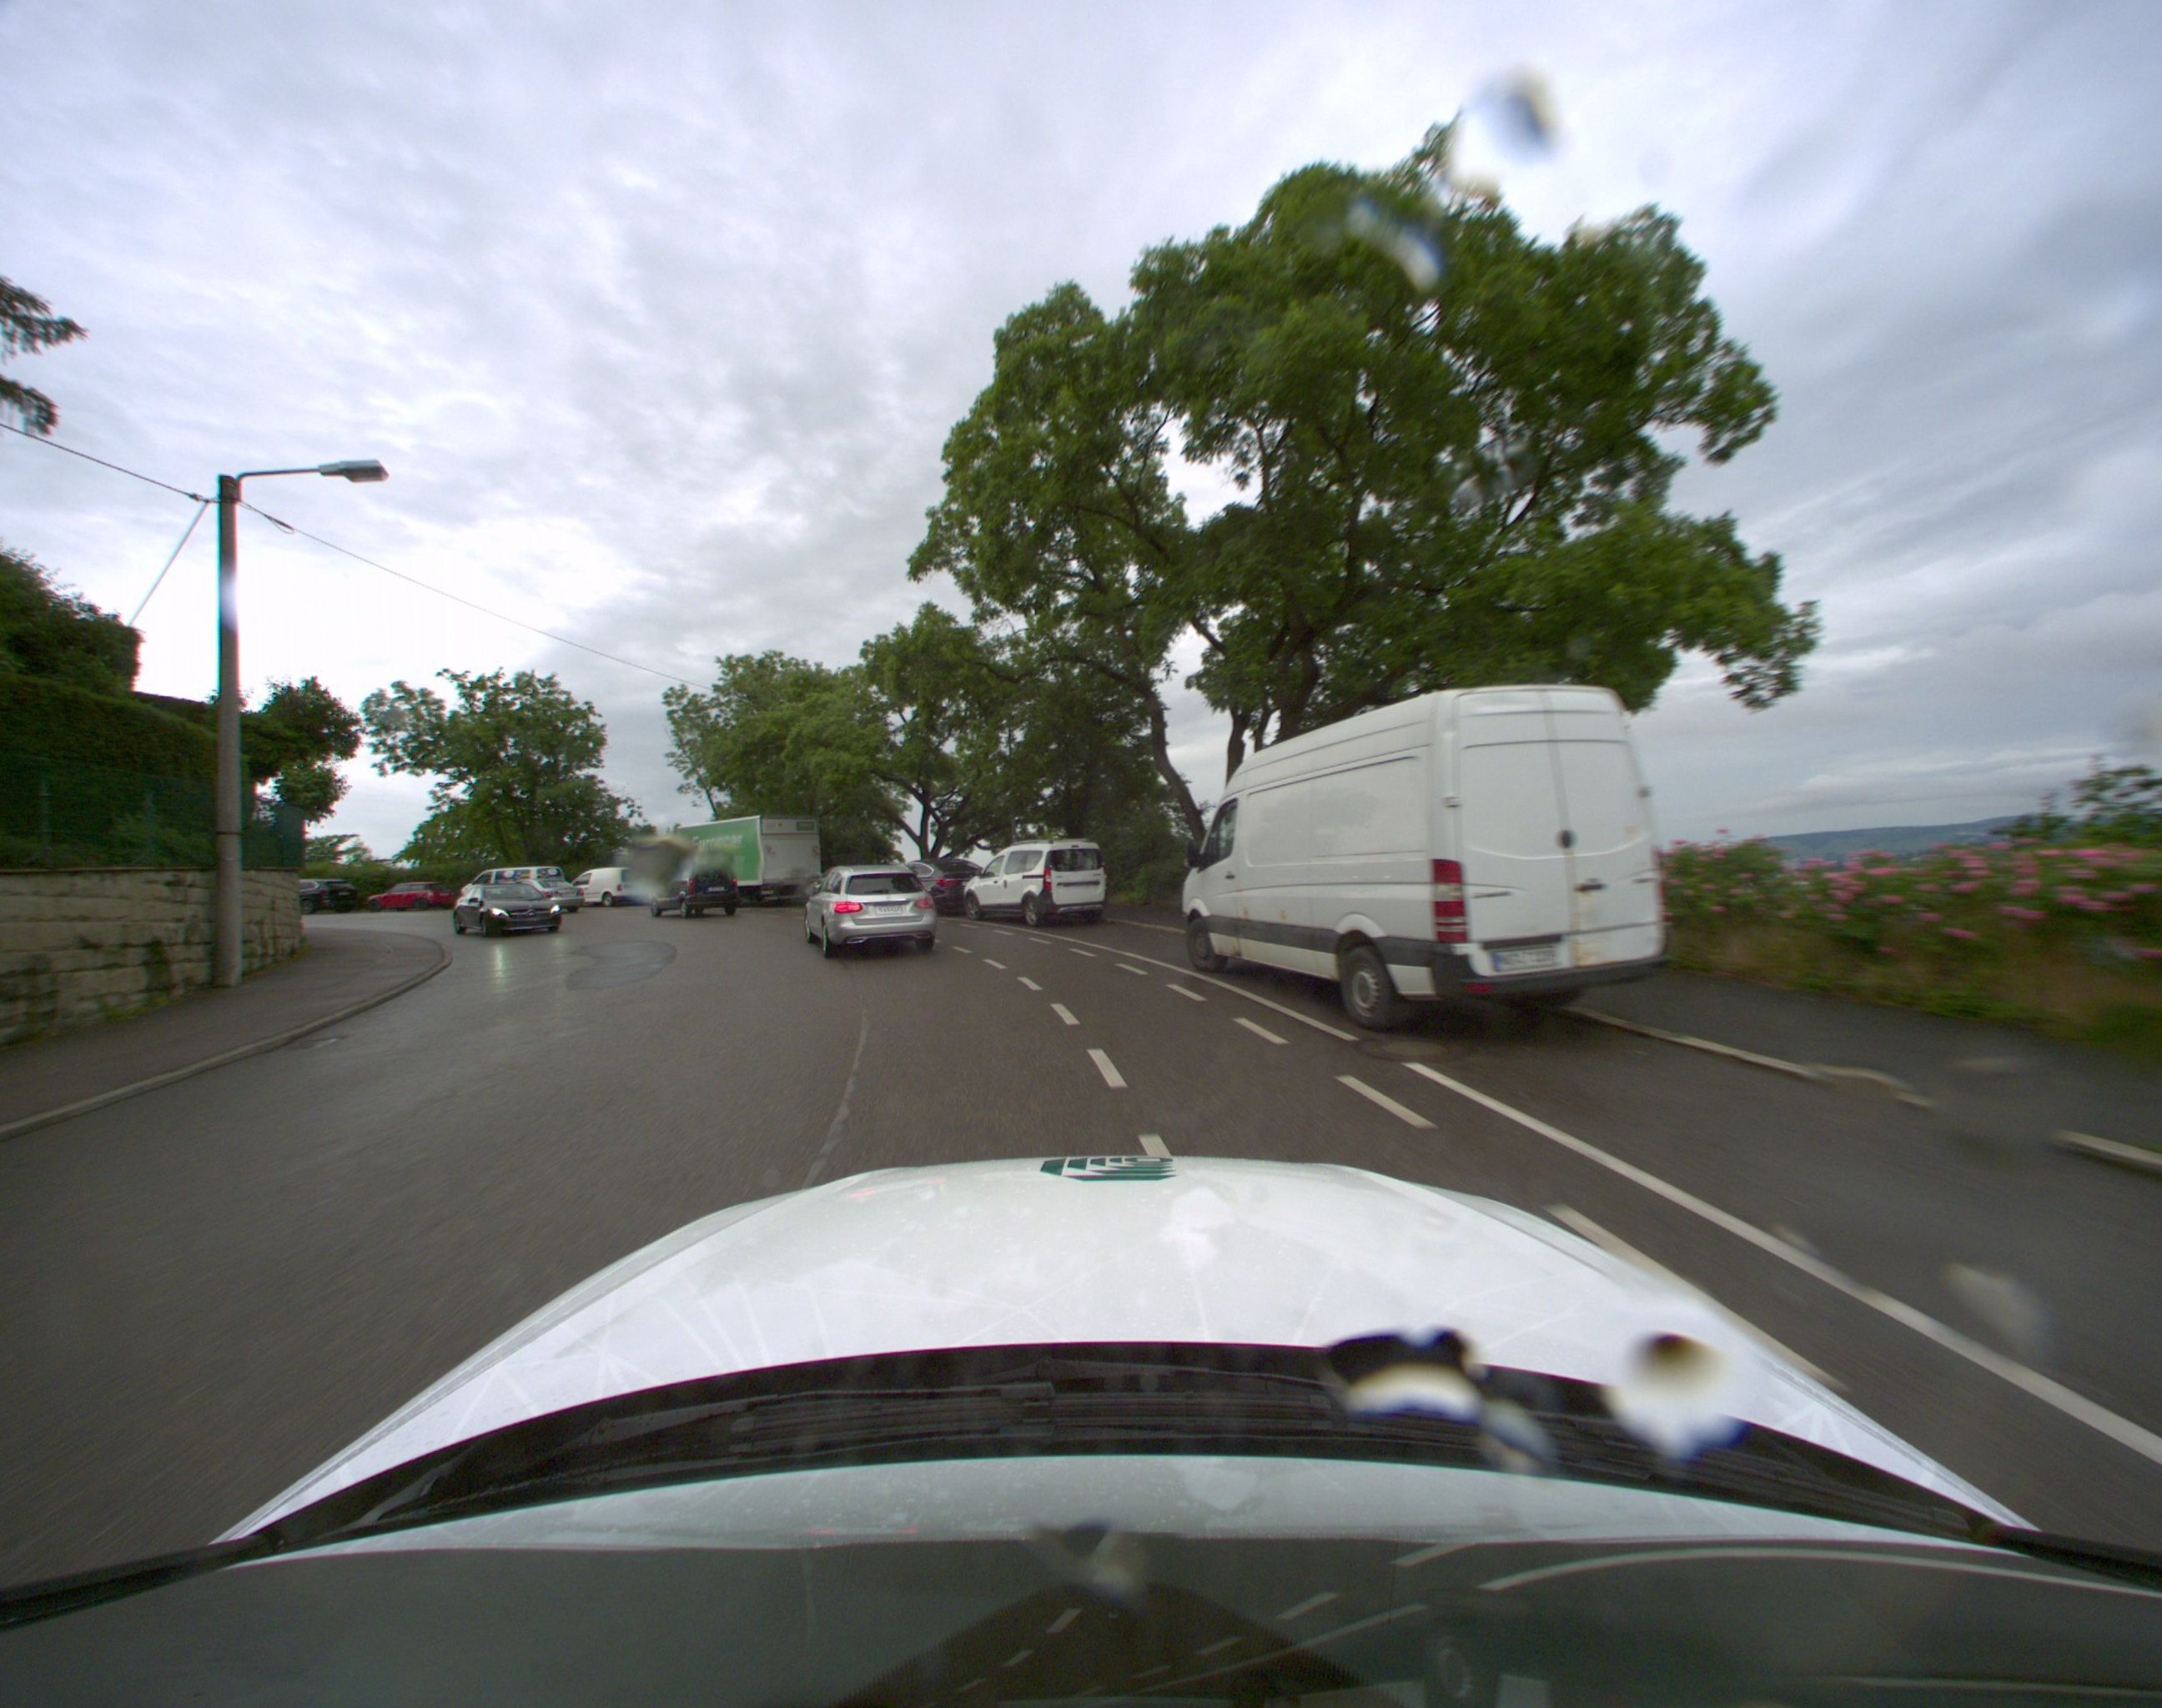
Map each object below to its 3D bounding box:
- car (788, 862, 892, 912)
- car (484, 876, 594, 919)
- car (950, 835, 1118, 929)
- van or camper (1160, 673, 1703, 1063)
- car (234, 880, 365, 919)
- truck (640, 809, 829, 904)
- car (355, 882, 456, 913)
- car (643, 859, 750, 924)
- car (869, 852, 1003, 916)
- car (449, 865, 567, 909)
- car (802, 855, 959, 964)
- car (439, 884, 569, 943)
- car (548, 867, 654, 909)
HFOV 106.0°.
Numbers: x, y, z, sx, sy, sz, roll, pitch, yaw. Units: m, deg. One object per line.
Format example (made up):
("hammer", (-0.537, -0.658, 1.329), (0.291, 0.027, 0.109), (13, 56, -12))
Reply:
("car", (-8.438, 1.143, 28.286), (1.749, 1.503, 4.085), (-5, 1, -43))
("car", (-21.857, 1.753, 32.837), (4.043, 1.458, 1.871), (-3, 1, 28))
("car", (-1.214, 0.612, 18.813), (1.760, 1.821, 4.375), (-4, 1, -35))
("van or camper", (2.813, 0.032, 8.550), (2.069, 2.580, 5.862), (-4, 1, -13))
("car", (-39.580, 2.295, 41.311), (4.859, 1.783, 2.036), (-2, -2, 5))
("truck", (-14.306, 0.192, 33.213), (8.817, 3.470, 2.801), (-3, 1, 36))
("car", (-33.973, 2.184, 41.017), (3.714, 1.414, 1.677), (-2, -2, 3))
("car", (-12.833, 1.230, 27.090), (4.044, 1.882, 1.841), (-3, 1, 45))
("car", (-4.308, 0.823, 23.534), (1.874, 1.542, 4.842), (-4, 1, -35))
("car", (-27.971, 1.606, 39.811), (4.761, 1.948, 1.872), (-2, -1, 11))
("car", (-3.728, 0.873, 14.521), (1.992, 1.553, 4.264), (-2, 0, -23))
("car", (-16.370, 1.652, 23.064), (4.061, 1.434, 1.805), (-3, -1, 37))
("car", (-22.395, 1.593, 38.020), (4.328, 1.770, 1.875), (-2, -1, 19))
